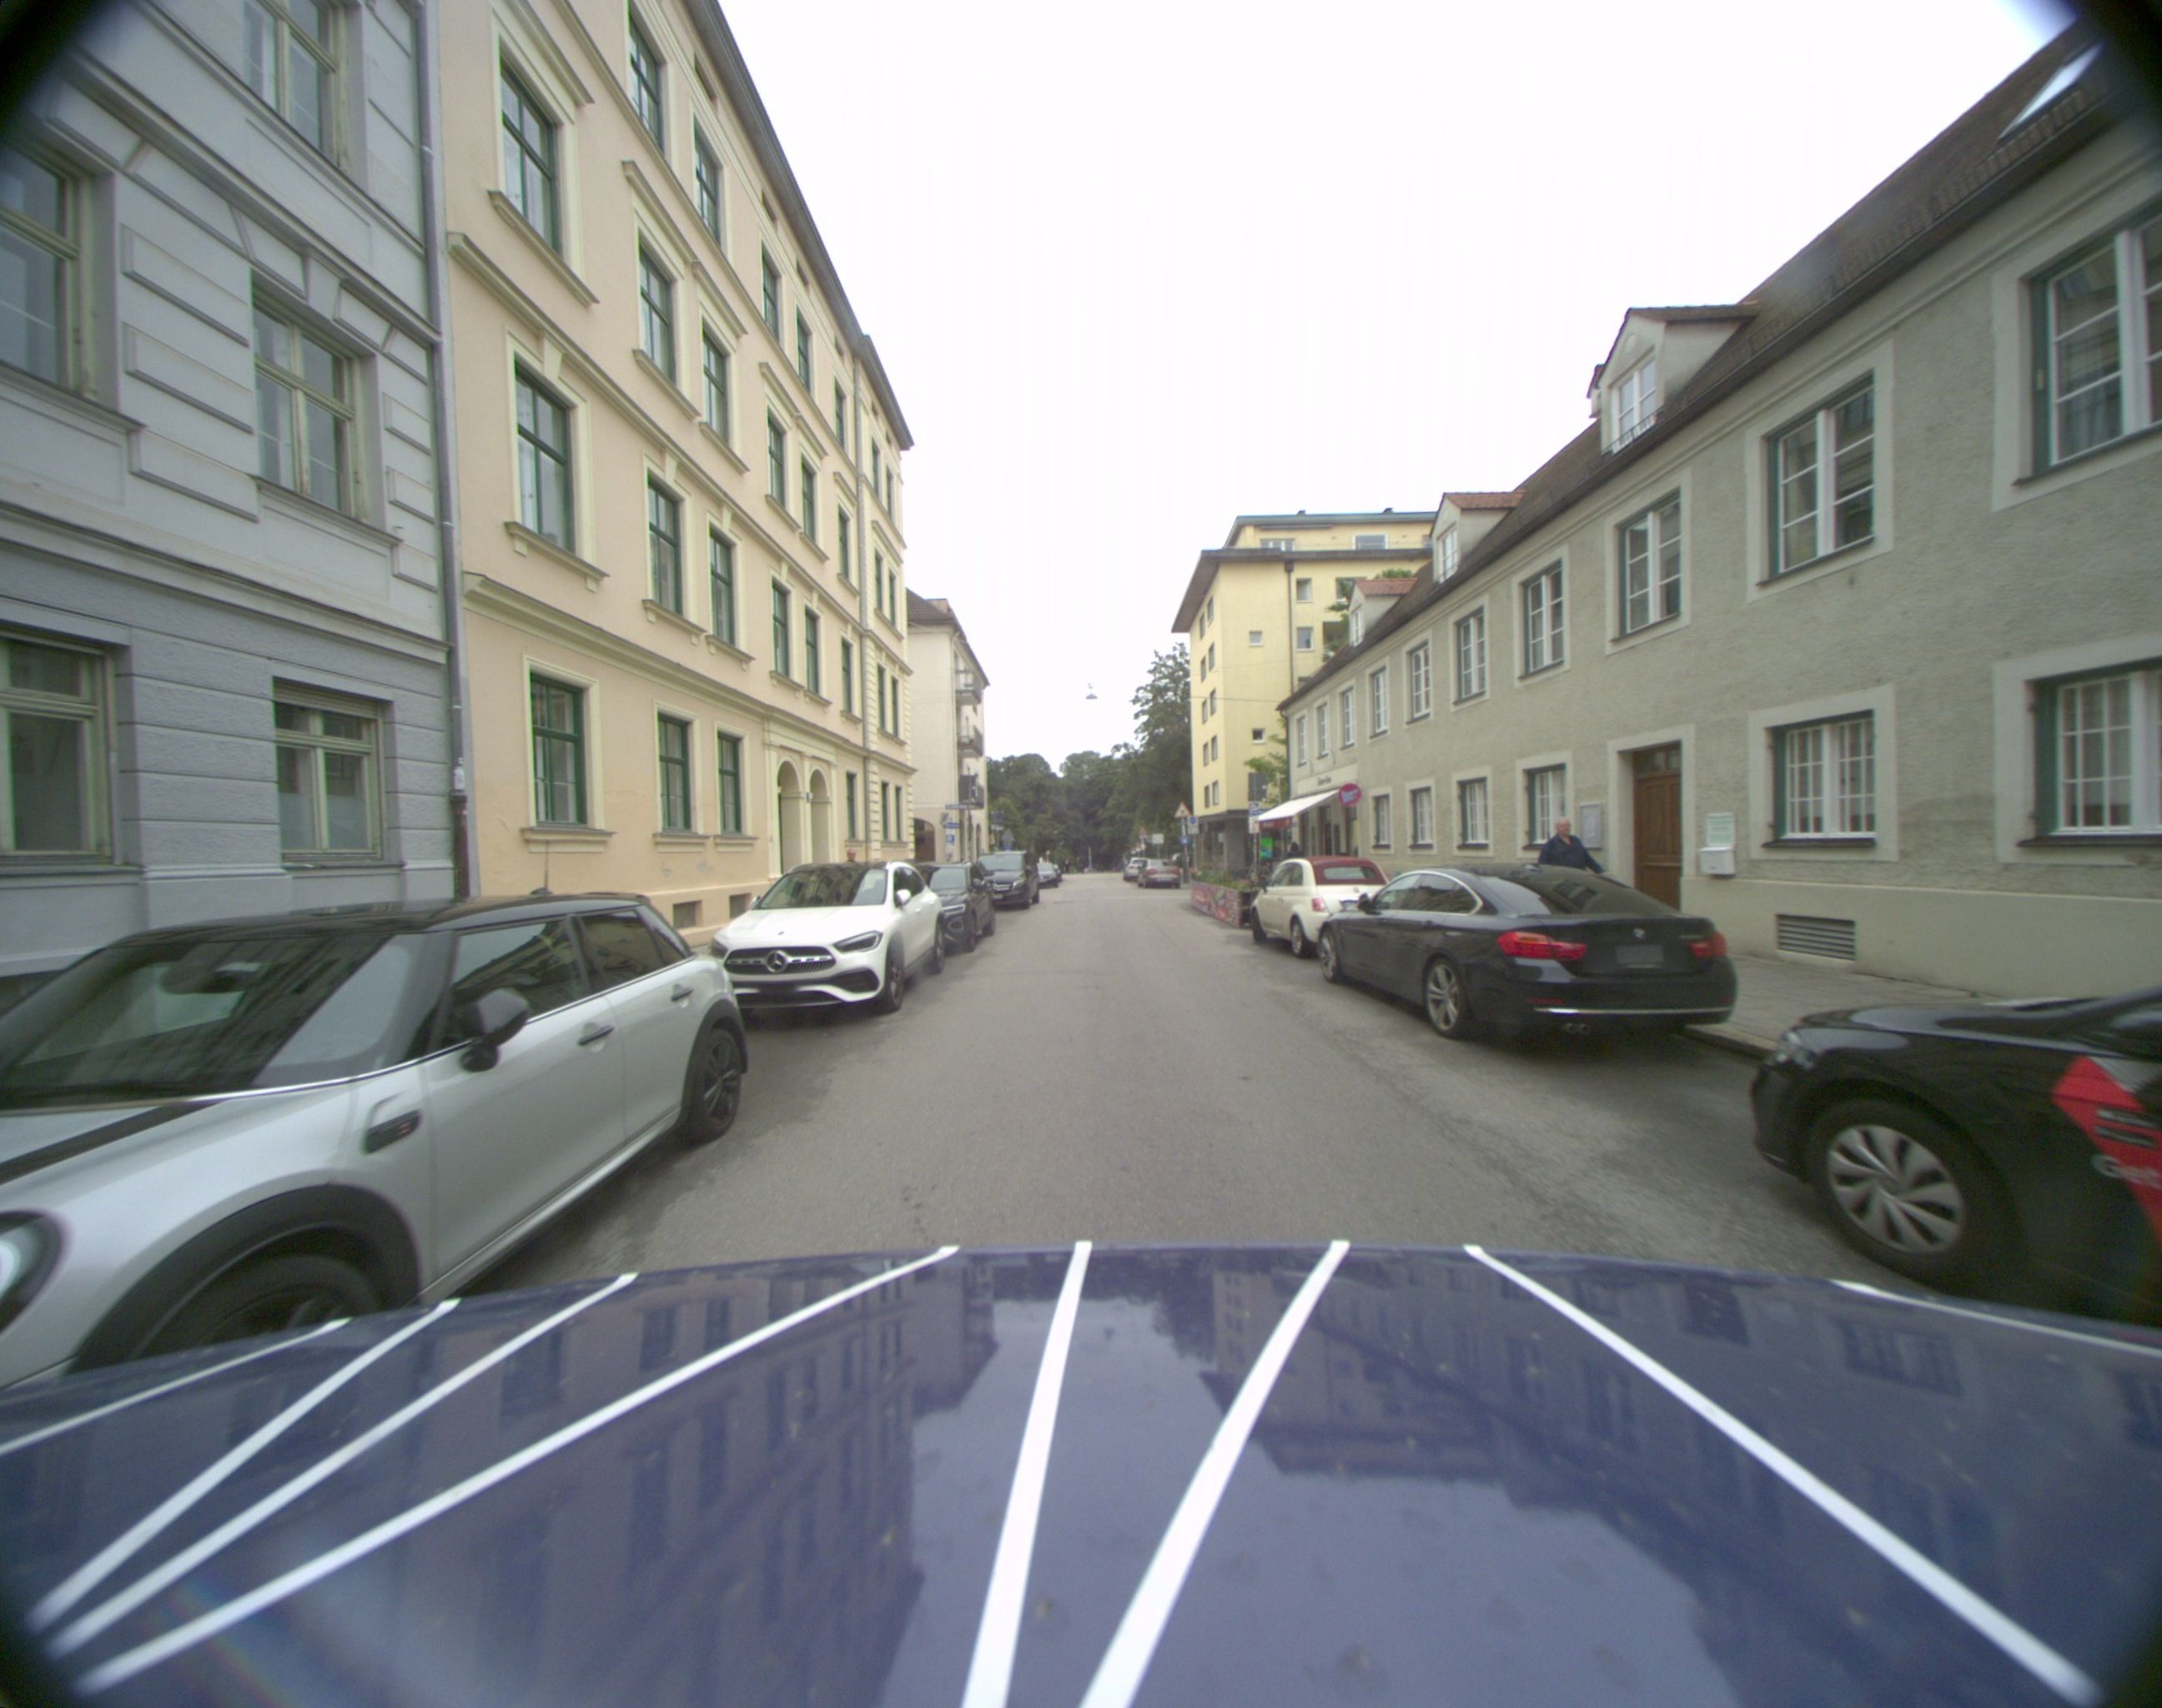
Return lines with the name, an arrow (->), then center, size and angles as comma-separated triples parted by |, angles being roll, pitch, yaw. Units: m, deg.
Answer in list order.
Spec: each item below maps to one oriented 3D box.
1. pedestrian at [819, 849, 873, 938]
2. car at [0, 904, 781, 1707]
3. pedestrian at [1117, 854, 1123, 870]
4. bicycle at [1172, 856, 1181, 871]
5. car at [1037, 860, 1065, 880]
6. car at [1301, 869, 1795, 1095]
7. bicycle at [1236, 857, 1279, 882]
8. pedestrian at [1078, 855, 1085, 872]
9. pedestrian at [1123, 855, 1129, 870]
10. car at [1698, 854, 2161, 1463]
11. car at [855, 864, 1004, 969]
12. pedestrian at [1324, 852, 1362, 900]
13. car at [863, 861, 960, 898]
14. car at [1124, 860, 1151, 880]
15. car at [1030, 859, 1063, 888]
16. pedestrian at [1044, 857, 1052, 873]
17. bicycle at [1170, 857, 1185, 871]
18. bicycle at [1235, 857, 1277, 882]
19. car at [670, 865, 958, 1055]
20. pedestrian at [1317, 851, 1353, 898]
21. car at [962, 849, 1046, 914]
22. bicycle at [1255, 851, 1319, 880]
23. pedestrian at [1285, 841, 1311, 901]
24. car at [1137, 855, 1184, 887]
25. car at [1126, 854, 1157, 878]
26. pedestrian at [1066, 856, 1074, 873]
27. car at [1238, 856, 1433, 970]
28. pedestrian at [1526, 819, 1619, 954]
pedestrian -> -4.710, 0.774, 15.316 | 0.720, 1.707, 1.003 | -1, 2, 0
car -> -2.795, 1.069, 2.837 | 1.712, 1.396, 4.206 | -2, 0, -1
pedestrian -> 4.835, 0.988, 93.558 | 0.707, 1.892, 0.804 | -1, -1, 1
bicycle -> 7.830, 0.798, 62.568 | 0.563, 1.203, 1.854 | -3, 1, 3
car -> -2.186, 1.159, 56.719 | 1.807, 1.402, 4.656 | -3, 0, 1
car -> 3.710, 0.879, 7.268 | 1.803, 1.331, 4.685 | -2, 0, 0
bicycle -> 8.123, 0.730, 34.937 | 1.822, 1.028, 0.392 | -4, 0, 3
pedestrian -> 0.042, 0.965, 77.219 | 0.639, 1.662, 0.774 | -3, -2, 1
pedestrian -> 5.528, 1.024, 93.535 | 0.634, 1.770, 0.801 | -1, -1, 1
car -> 3.639, 0.787, 1.234 | 1.759, 1.487, 4.199 | -2, 1, -2
car -> -2.597, 1.012, 14.071 | 1.759, 1.512, 4.274 | -2, 1, 1
pedestrian -> 7.313, 0.602, 21.221 | 0.805, 1.283, 0.693 | -1, 2, 1
car -> -7.896, 1.174, 35.654 | 4.099, 1.595, 1.755 | -1, -1, -1
car -> 4.236, 1.158, 57.206 | 1.750, 1.402, 4.098 | 0, 0, 1
car -> -1.927, 1.080, 43.605 | 1.680, 1.416, 4.203 | -4, 0, -1
pedestrian -> -3.563, 1.200, 81.643 | 0.653, 1.676, 0.976 | -3, -2, 2
bicycle -> 8.248, 0.824, 64.824 | 0.582, 1.119, 2.301 | -3, 0, 25
bicycle -> 8.146, 0.719, 35.340 | 1.822, 1.028, 0.392 | -4, 0, 3
car -> -2.775, 0.995, 9.110 | 1.747, 1.574, 4.466 | -2, 0, 1
pedestrian -> 7.327, 0.583, 21.944 | 0.805, 1.283, 0.693 | -1, 2, 1
car -> -2.428, 0.821, 25.400 | 2.002, 1.853, 5.253 | -2, 0, 2
bicycle -> 10.001, 0.559, 37.008 | 2.849, 1.205, 0.817 | -3, 2, 3
pedestrian -> 6.520, 0.495, 22.863 | 0.530, 1.772, 0.877 | -1, 2, 1
car -> 3.925, 0.806, 38.271 | 1.683, 1.463, 4.949 | -1, 0, -2
car -> 4.056, 0.825, 51.728 | 1.807, 1.574, 4.339 | 0, -1, 1
pedestrian -> -1.087, 1.025, 77.147 | 0.686, 1.662, 0.774 | -3, -2, 1
car -> 3.917, 0.822, 12.376 | 1.759, 1.466, 3.713 | -3, 0, -2
pedestrian -> 7.138, 0.449, 11.074 | 0.824, 1.887, 0.827 | -1, 2, 0
